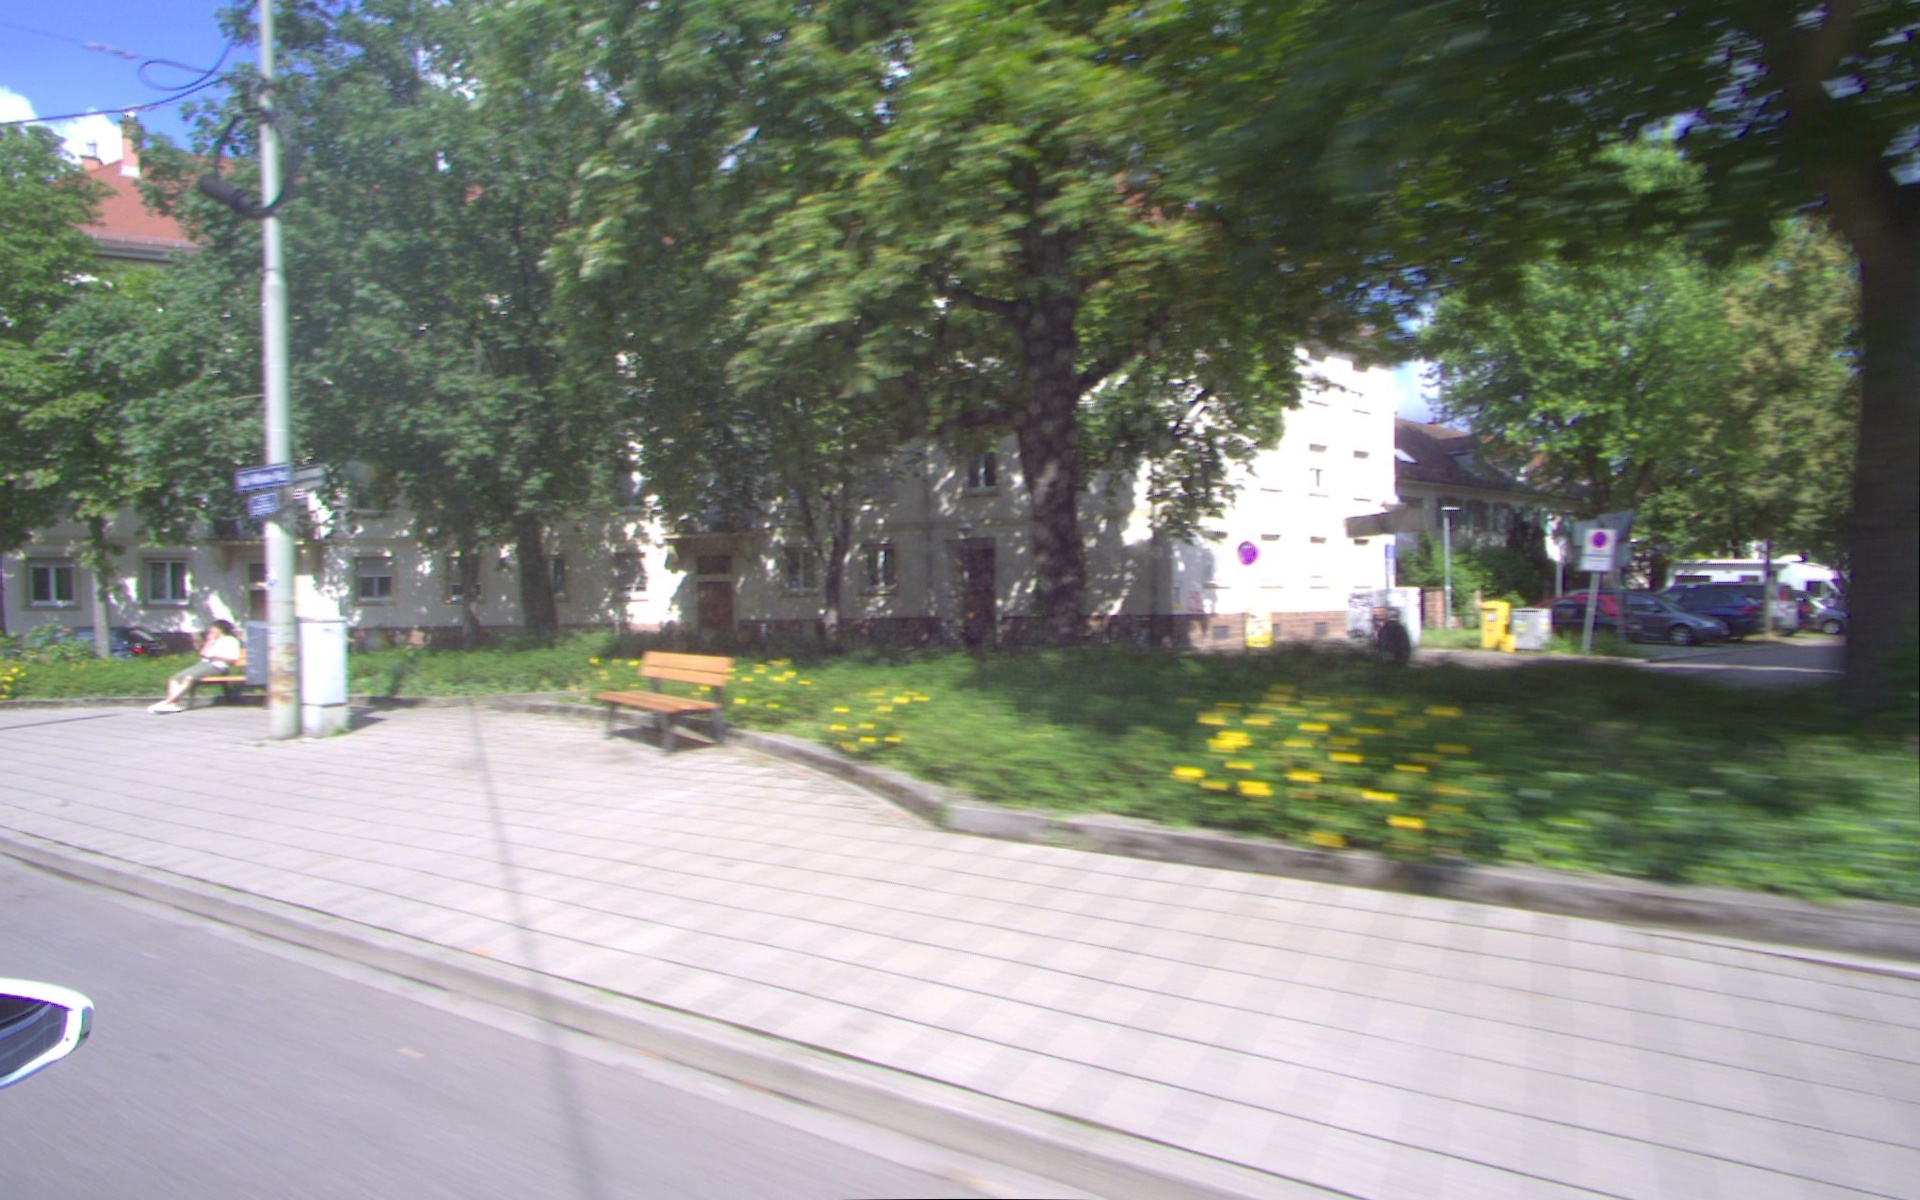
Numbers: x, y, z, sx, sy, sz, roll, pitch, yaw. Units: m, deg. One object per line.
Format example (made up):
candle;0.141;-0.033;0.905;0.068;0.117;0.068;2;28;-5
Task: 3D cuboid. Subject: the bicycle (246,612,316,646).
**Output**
bicycle;-21.478;0.905;31.700;1.719;1.034;0.566;-1;2;-6

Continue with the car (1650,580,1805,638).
car;26.643;0.309;34.863;1.826;1.884;3.968;-1;0;-38

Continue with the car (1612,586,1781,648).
car;23.323;0.528;31.832;1.954;1.817;3.970;-1;0;-38

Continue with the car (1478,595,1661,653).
car;16.641;0.644;27.482;1.782;1.461;3.967;-1;0;-39

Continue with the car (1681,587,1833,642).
car;29.065;0.518;36.615;1.974;1.906;3.974;-1;0;-34

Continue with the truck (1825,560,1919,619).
truck;49.061;-0.532;52.338;1.975;2.972;5.515;-1;0;-36

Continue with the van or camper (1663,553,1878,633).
van or camper;33.897;-0.227;42.145;2.097;3.078;6.781;-1;0;-38

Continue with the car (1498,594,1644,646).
car;18.047;0.581;29.665;1.545;1.441;3.385;-1;0;-40

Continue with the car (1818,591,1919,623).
car;44.244;0.363;48.702;1.517;1.415;3.579;2;-3;-35

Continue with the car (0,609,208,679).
car;-21.173;1.026;24.403;4.098;1.530;1.847;-1;1;-17

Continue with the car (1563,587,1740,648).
car;20.941;0.519;30.449;1.831;1.706;4.093;-1;0;-39

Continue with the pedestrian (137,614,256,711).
pedestrian;-11.011;0.872;14.467;0.549;1.286;1.191;-1;2;27

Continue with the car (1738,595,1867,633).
car;32.913;0.560;39.207;1.514;1.416;3.639;-1;0;-36
